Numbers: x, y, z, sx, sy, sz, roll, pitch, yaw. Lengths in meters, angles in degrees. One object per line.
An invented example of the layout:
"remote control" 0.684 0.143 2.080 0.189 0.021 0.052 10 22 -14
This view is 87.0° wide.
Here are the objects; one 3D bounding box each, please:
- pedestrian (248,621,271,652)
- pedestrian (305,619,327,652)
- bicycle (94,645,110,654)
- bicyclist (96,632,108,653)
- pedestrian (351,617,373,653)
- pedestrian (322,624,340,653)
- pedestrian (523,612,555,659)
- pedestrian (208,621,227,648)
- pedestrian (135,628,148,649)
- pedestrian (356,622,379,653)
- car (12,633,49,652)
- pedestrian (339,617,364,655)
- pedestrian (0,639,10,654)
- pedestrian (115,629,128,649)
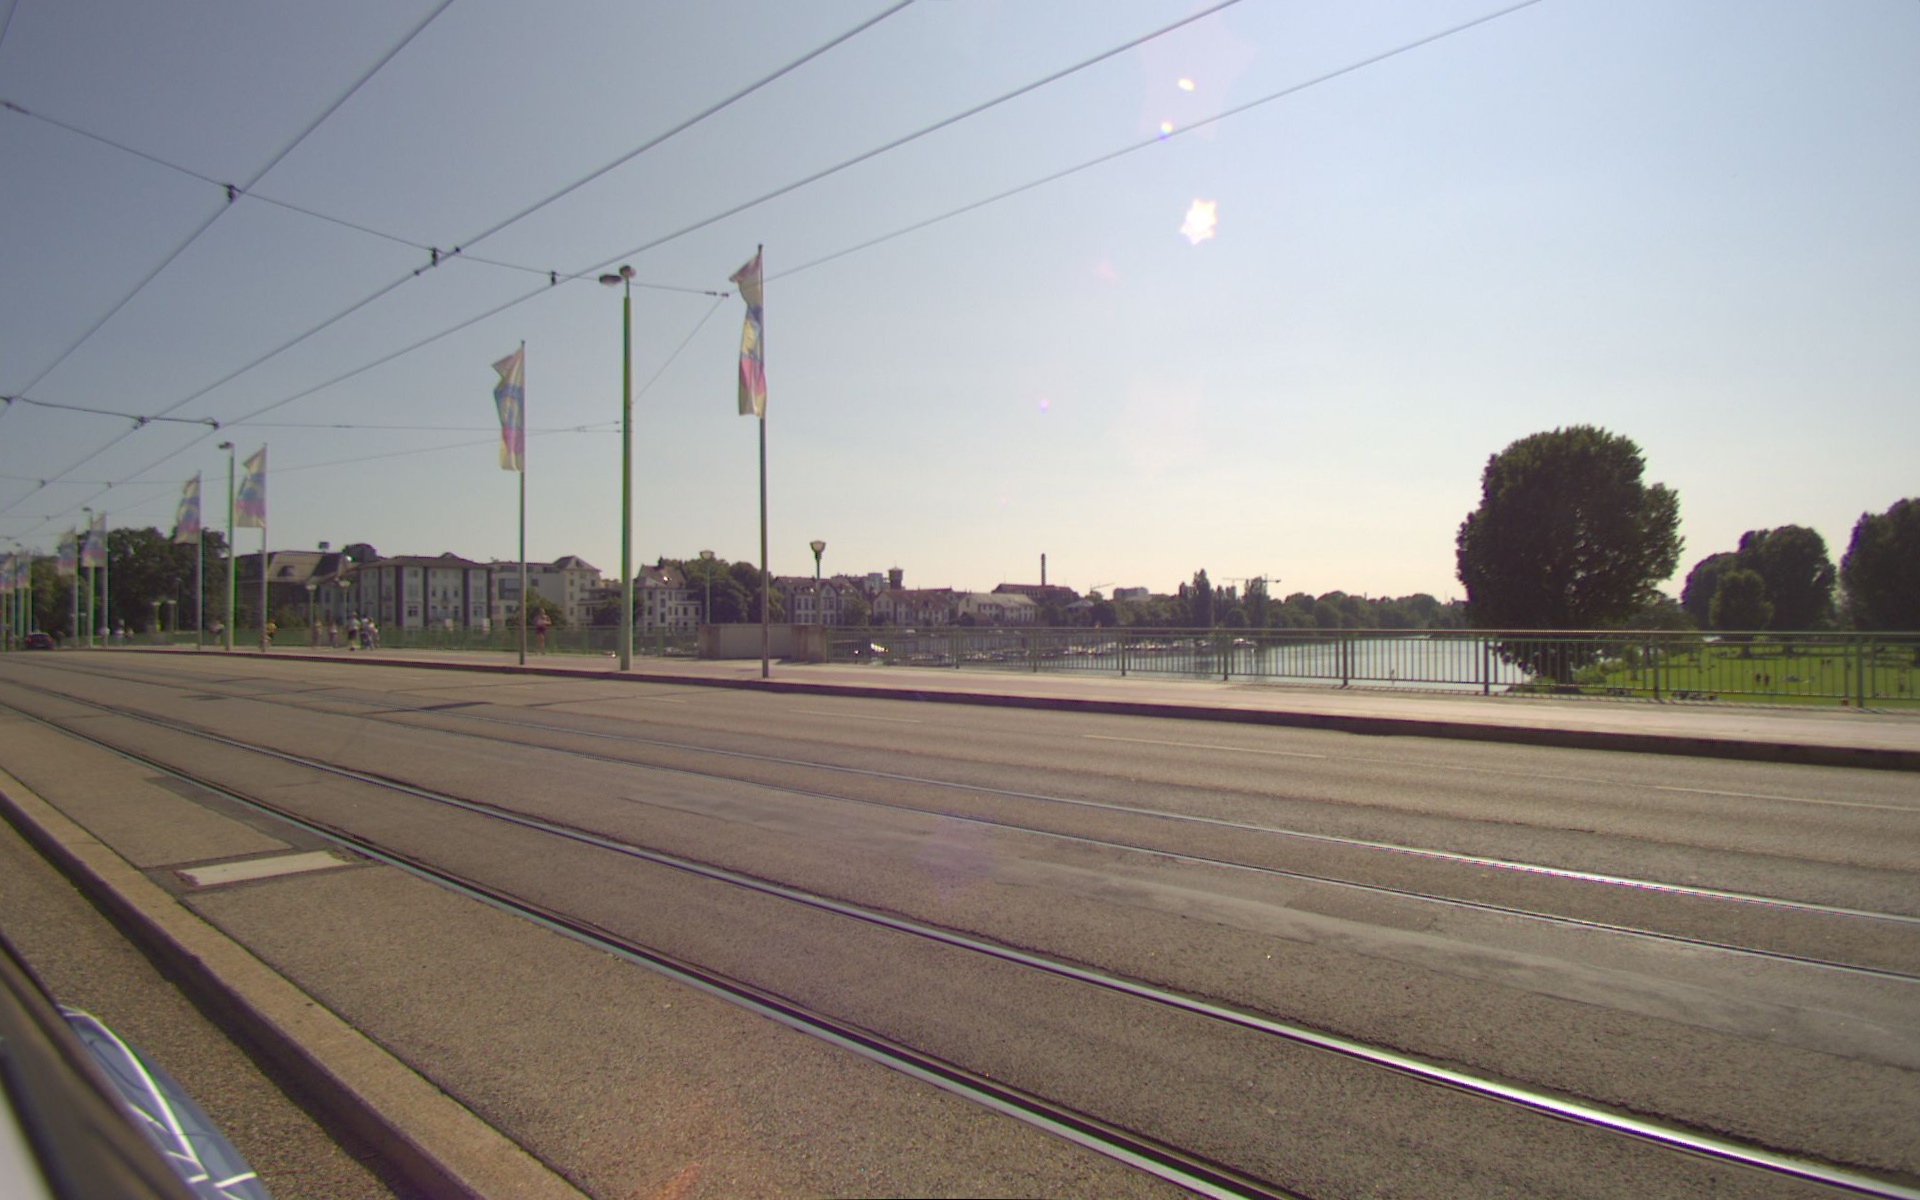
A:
"pedestrian" -39.582 2.052 57.161 1.022 1.712 0.777 -1 1 41
"pedestrian" -32.704 1.806 51.402 1.022 1.611 0.620 -1 0 41
"bicycle" -68.949 3.972 81.341 2.171 0.721 0.658 -2 -1 41
"bicyclist" -68.990 3.386 81.375 0.621 1.663 0.657 -2 -2 41
"pedestrian" -29.440 1.712 49.799 1.022 1.712 0.584 -1 0 41
"pedestrian" -32.297 1.973 51.999 0.788 1.448 0.540 -1 0 41
"pedestrian" -15.891 1.340 38.216 1.022 1.703 0.677 -1 0 41
"pedestrian" -48.584 2.275 66.226 1.022 1.712 0.777 -1 1 41
"pedestrian" -69.514 3.263 85.965 0.904 1.712 0.584 -2 3 41
"pedestrian" -28.110 1.768 48.016 1.022 1.425 0.584 -1 0 41
"car" -73.514 3.343 80.013 3.899 1.465 1.698 -1 -2 41
"pedestrian" -28.614 1.695 47.569 1.022 1.712 0.663 -1 0 41
"pedestrian" -114.965 5.557 121.785 1.022 1.712 0.777 -1 1 41
"pedestrian" -72.583 3.353 87.639 1.022 1.712 0.584 -2 3 41
